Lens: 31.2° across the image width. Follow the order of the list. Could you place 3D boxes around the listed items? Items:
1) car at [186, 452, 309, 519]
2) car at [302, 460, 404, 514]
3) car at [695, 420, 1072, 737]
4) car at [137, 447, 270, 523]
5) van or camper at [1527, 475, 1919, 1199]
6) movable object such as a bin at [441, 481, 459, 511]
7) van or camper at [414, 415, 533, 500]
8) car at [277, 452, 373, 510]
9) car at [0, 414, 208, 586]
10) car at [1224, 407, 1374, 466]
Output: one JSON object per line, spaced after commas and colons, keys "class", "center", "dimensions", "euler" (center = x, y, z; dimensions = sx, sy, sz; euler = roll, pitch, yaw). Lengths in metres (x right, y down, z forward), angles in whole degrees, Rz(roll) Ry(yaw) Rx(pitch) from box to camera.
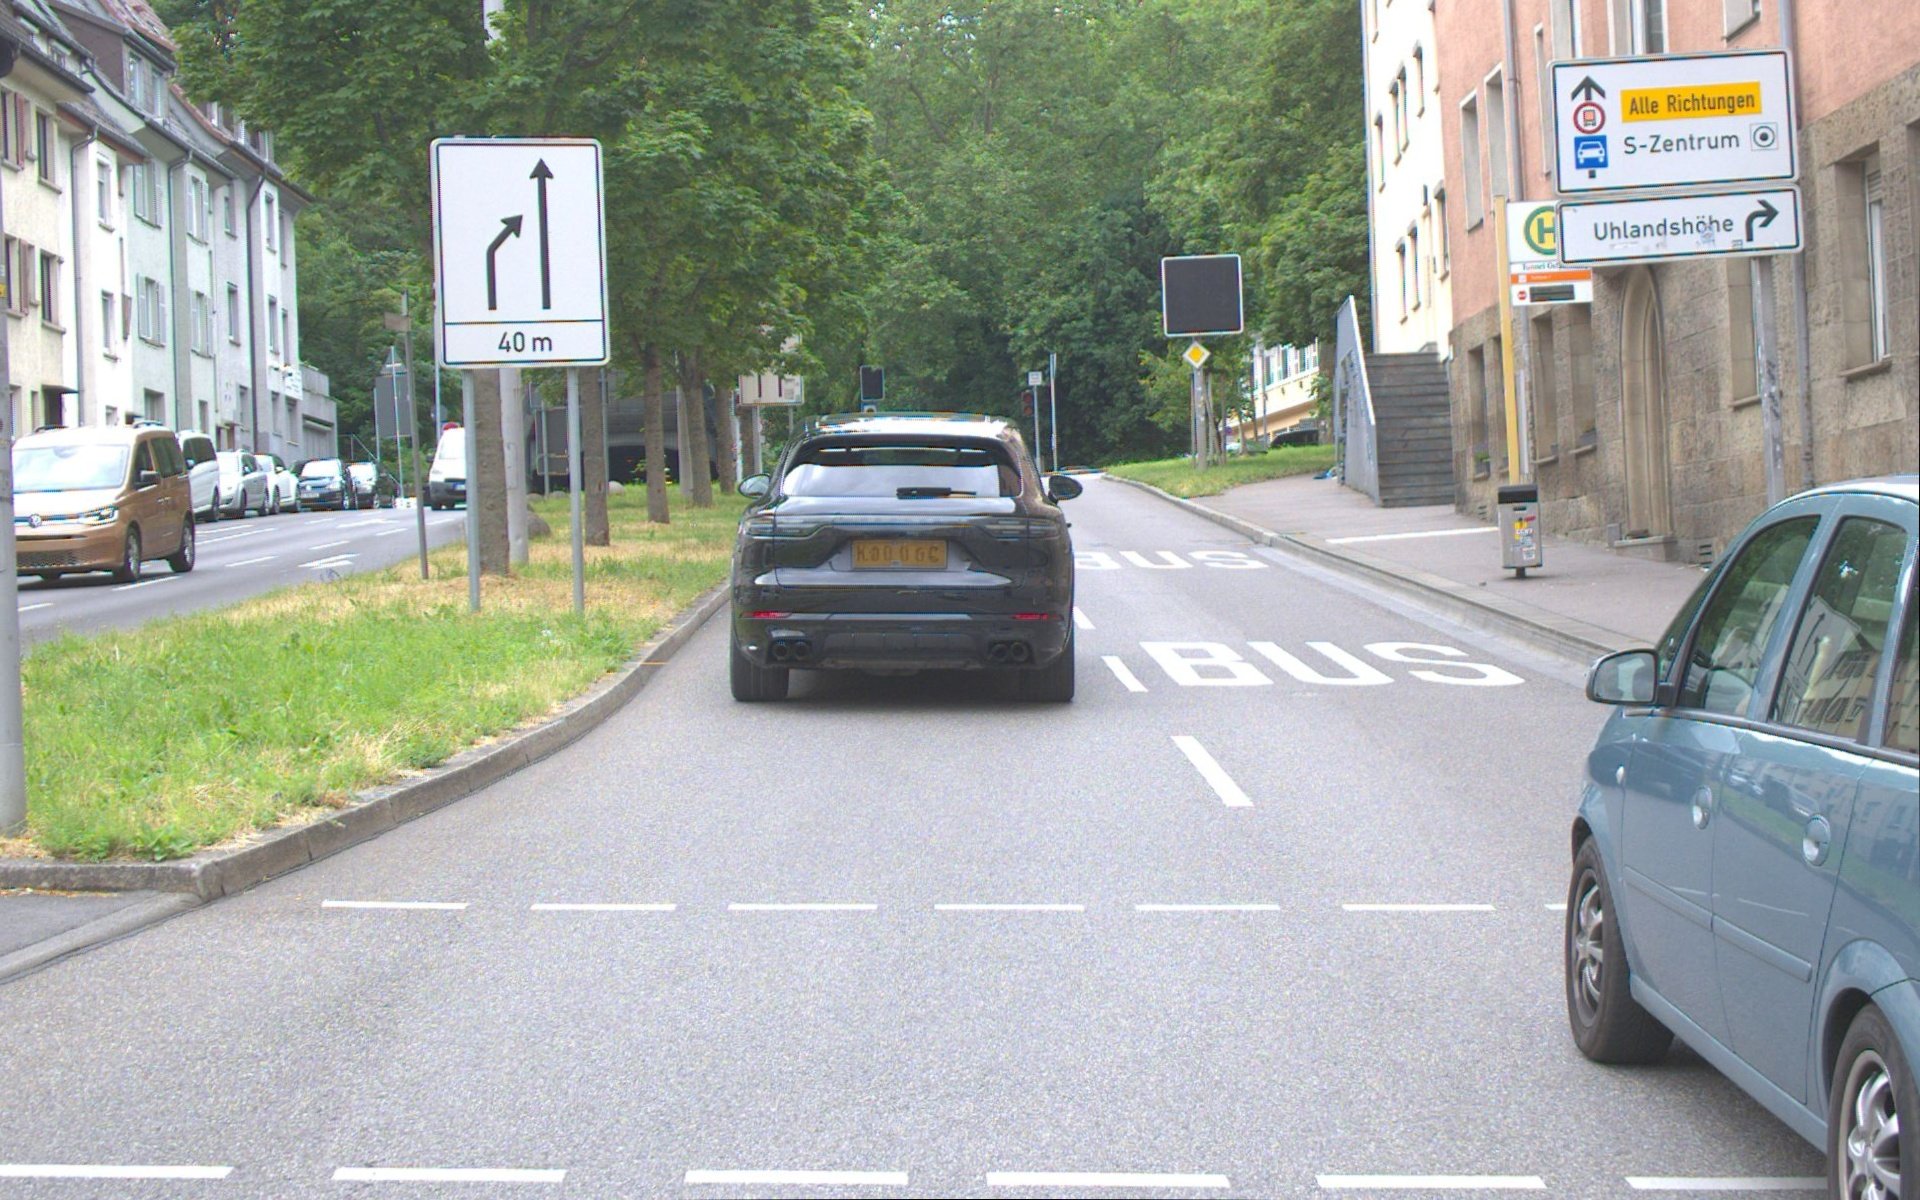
{"class": "car", "center": [-16.741, -2.720, 80.930], "dimensions": [1.993, 1.469, 4.159], "euler": [-2, 2, 0]}
{"class": "car", "center": [-16.837, -3.135, 95.529], "dimensions": [1.993, 1.395, 4.518], "euler": [-2, 2, 0]}
{"class": "car", "center": [-0.387, -0.189, 20.793], "dimensions": [1.993, 1.647, 4.000], "euler": [-2, 2, 1]}
{"class": "car", "center": [-16.570, -2.538, 75.472], "dimensions": [1.993, 1.547, 4.383], "euler": [-2, 2, -1]}
{"class": "van or camper", "center": [2.446, 0.551, 7.517], "dimensions": [1.735, 1.572, 3.647], "euler": [0, 3, -1]}
{"class": "movable object such as a bin", "center": [-16.675, -3.405, 112.308], "dimensions": [0.515, 0.964, 0.445], "euler": [1, 0, -16]}
{"class": "van or camper", "center": [-10.601, -3.124, 75.130], "dimensions": [1.908, 1.755, 4.655], "euler": [-1, 3, 0]}
{"class": "car", "center": [-16.619, -3.128, 90.159], "dimensions": [1.993, 1.418, 4.213], "euler": [-2, 3, -4]}
{"class": "car", "center": [-10.154, -1.210, 39.791], "dimensions": [1.879, 1.809, 4.352], "euler": [-1, 4, 0]}
{"class": "car", "center": [9.280, -4.469, 93.919], "dimensions": [1.999, 1.413, 3.990], "euler": [0, 4, 44]}
